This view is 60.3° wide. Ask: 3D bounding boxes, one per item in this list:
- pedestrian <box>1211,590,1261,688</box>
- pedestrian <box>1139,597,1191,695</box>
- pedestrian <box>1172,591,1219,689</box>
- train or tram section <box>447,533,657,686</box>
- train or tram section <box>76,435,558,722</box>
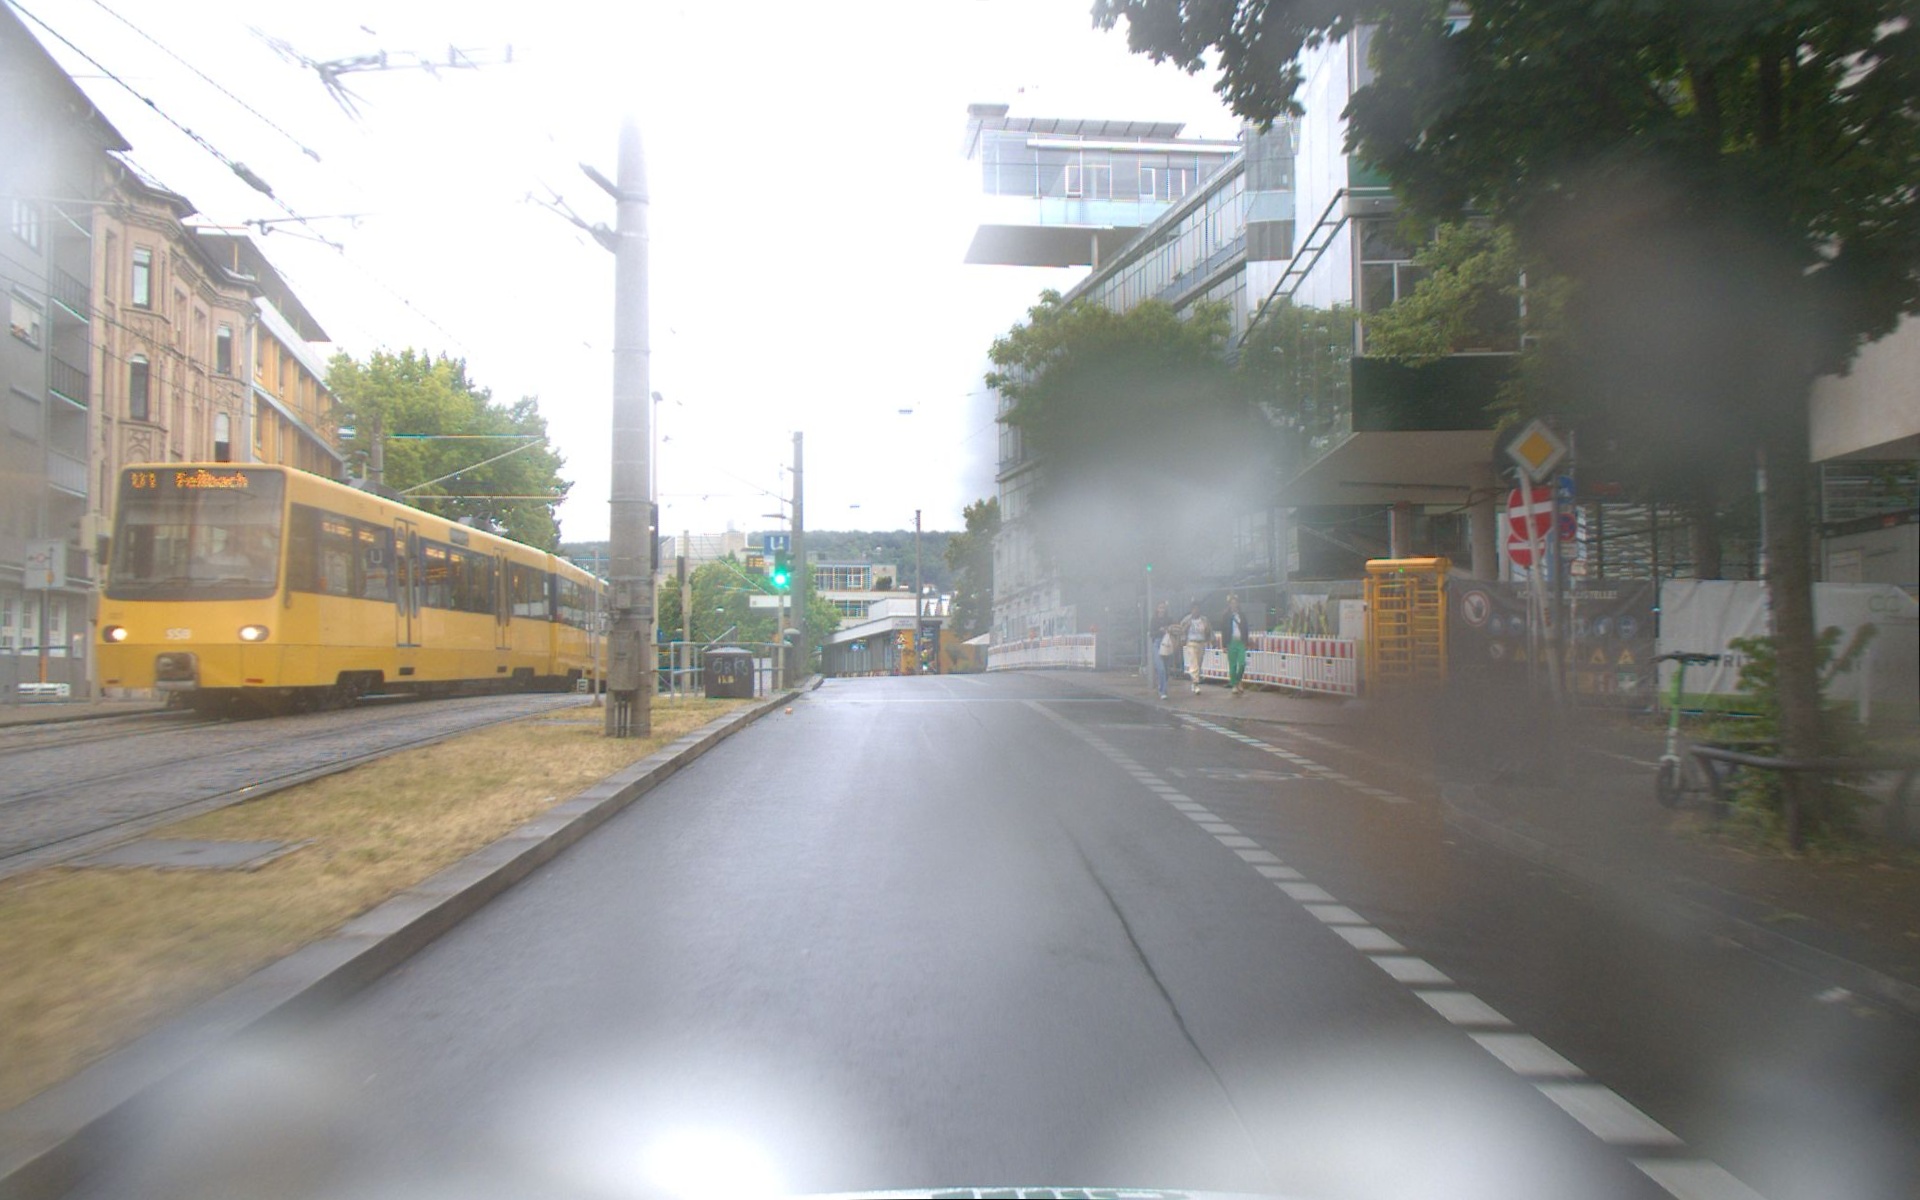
[{"bbox_3d":[5.241,0.730,31.435,0.686,1.816,1.066,0,0,-5],"label":"pedestrian"},{"bbox_3d":[3.759,0.834,30.378,0.722,1.760,1.117,0,0,-5],"label":"pedestrian"},{"bbox_3d":[4.493,0.755,31.610,0.686,1.847,0.976,0,0,-5],"label":"pedestrian"},{"bbox_3d":[-11.771,0.501,50.186,2.691,3.762,18.955,0,-2,-3],"label":"train or tram section"},{"bbox_3d":[-10.743,-0.028,31.253,2.691,3.762,18.955,0,-2,-3],"label":"train or tram section"}]
